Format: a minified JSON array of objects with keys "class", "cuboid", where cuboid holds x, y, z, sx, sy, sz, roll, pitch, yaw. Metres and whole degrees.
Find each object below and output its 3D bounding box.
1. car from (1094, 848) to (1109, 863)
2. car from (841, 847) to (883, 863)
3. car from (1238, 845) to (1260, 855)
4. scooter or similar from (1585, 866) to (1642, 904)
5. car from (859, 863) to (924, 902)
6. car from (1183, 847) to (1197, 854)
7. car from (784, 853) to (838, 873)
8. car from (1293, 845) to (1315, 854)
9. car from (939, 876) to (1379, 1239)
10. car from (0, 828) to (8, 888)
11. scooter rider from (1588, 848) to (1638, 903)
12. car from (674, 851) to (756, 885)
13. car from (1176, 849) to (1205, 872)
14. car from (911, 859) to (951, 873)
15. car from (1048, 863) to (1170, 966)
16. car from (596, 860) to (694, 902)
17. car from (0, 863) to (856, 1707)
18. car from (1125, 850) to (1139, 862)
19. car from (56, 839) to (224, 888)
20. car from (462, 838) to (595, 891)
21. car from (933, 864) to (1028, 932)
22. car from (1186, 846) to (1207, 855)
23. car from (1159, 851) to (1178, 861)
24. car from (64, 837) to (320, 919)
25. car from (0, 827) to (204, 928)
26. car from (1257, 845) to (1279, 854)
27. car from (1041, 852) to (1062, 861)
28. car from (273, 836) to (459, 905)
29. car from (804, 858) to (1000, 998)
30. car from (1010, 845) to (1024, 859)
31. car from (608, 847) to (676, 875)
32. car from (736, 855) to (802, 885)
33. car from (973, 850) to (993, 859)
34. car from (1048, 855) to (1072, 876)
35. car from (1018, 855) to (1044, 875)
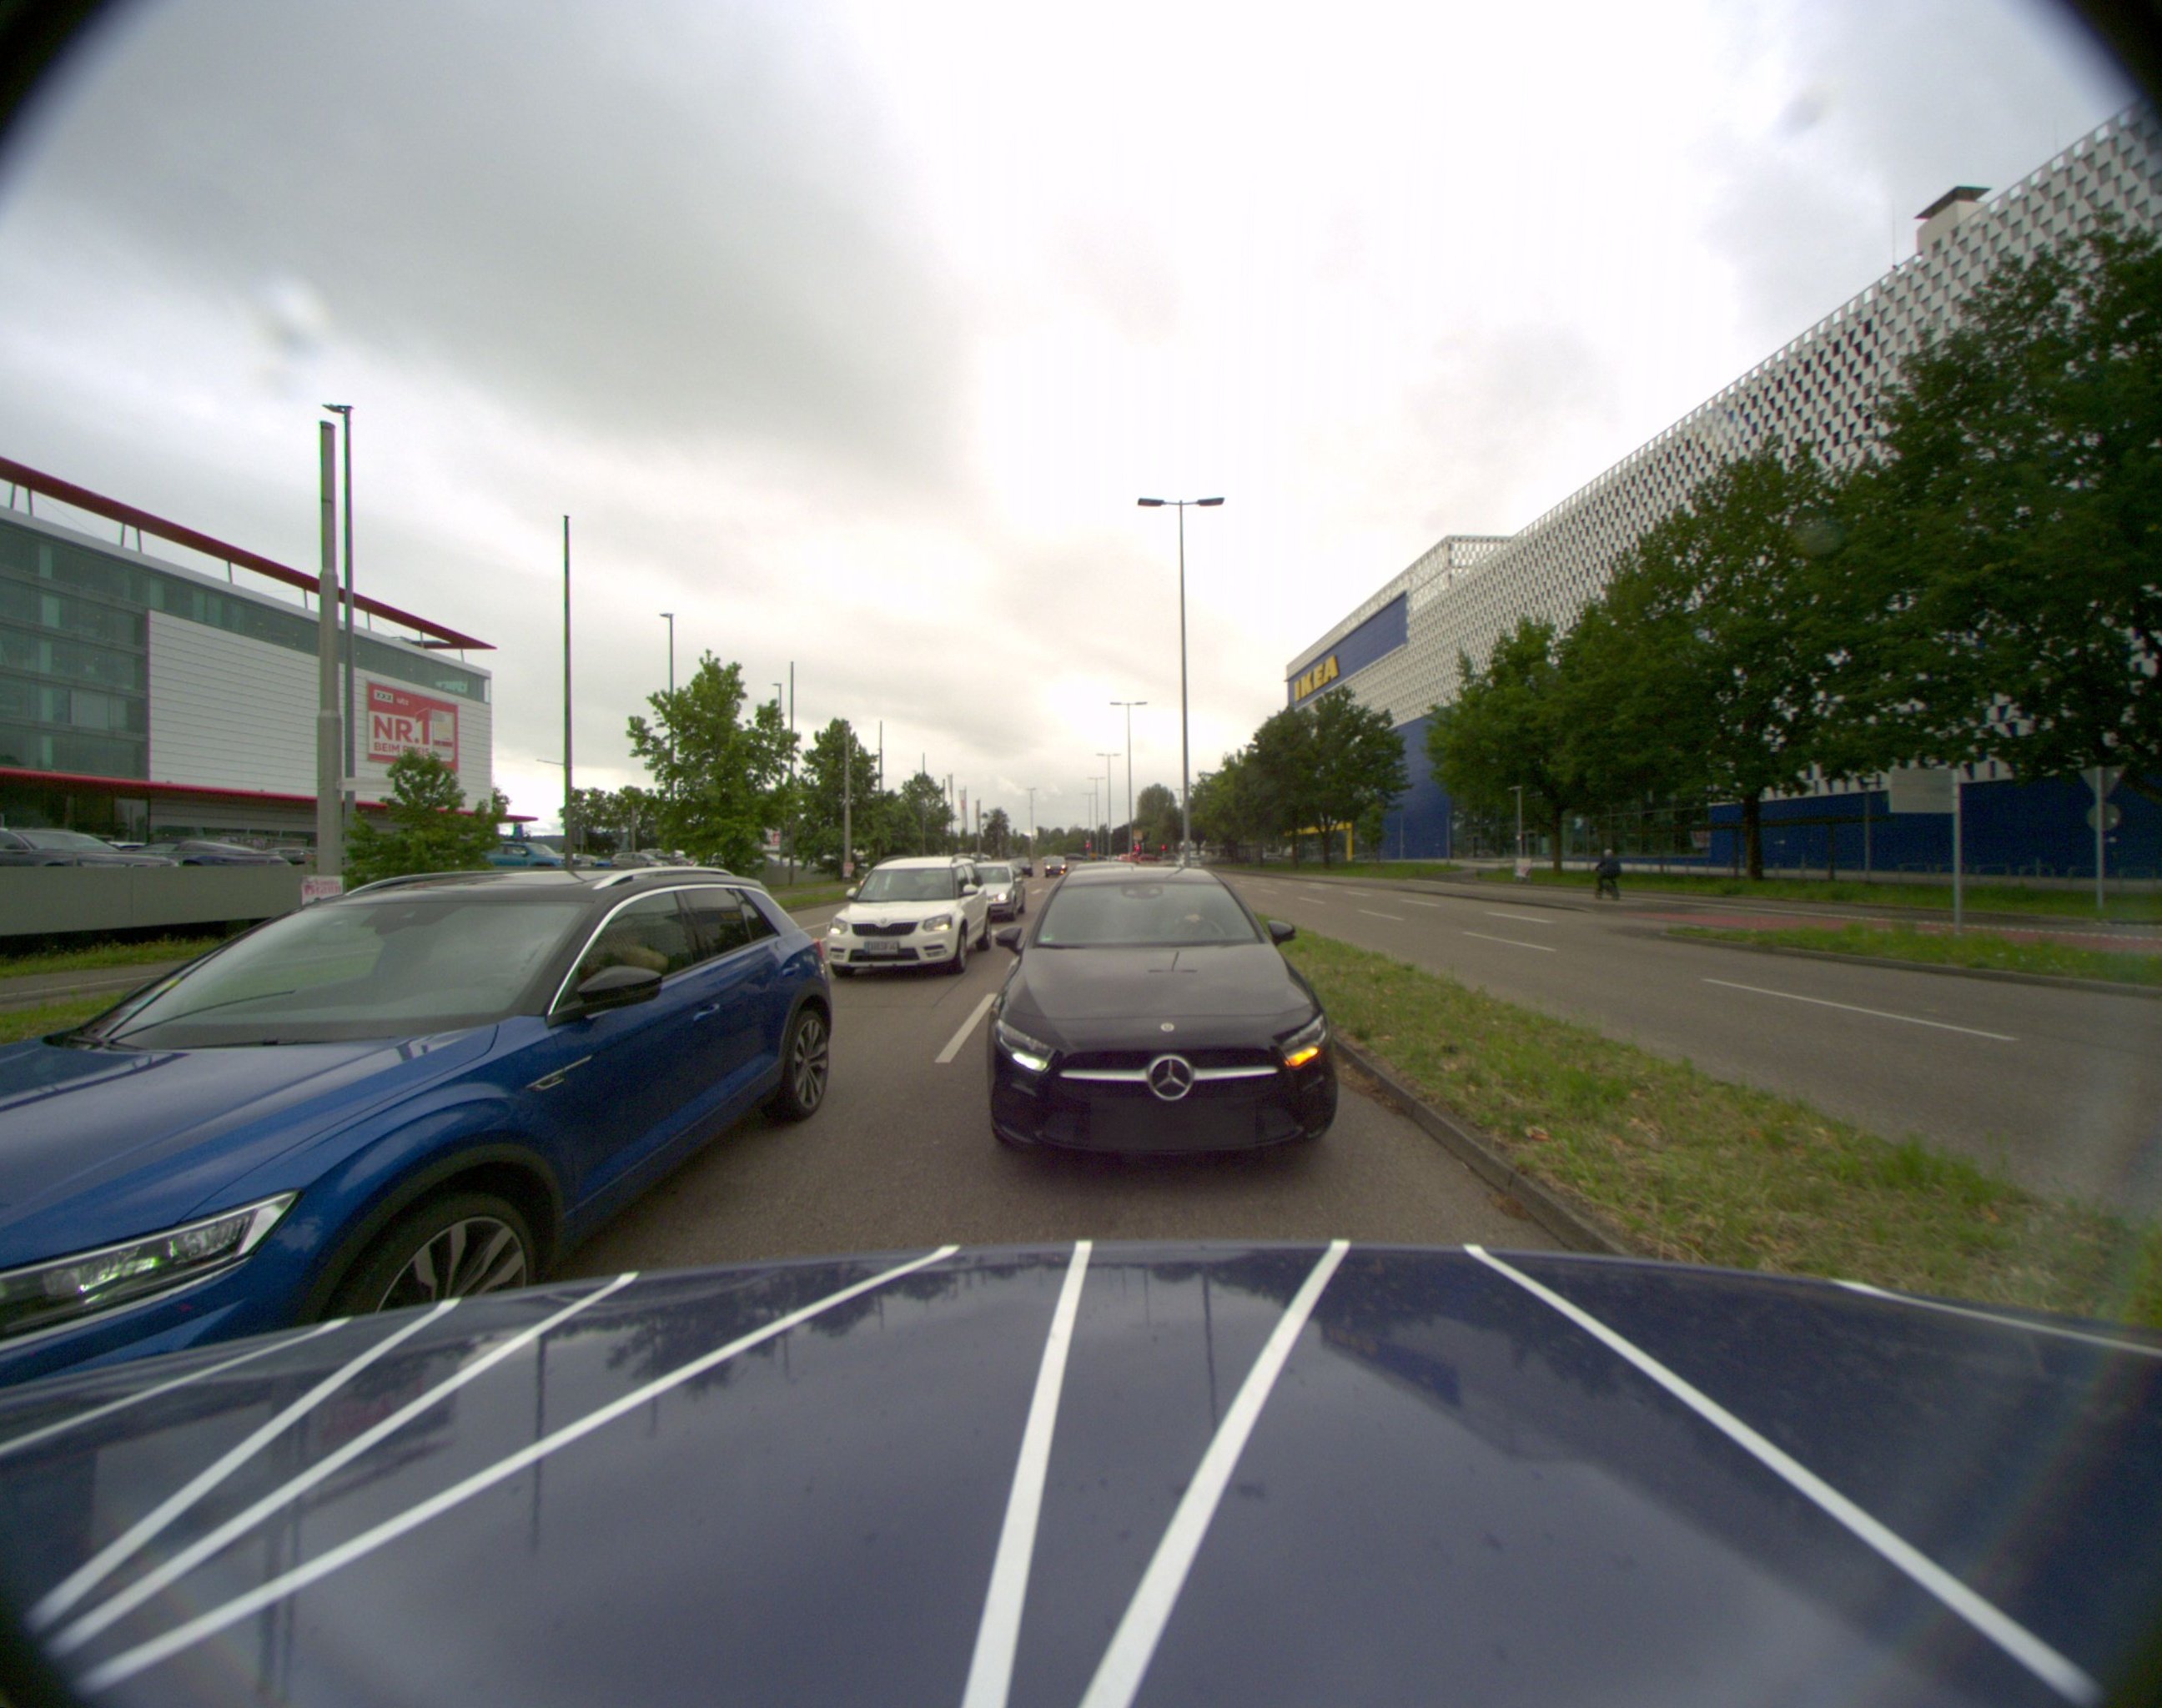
[{"class":"car","cuboid":[3.220,0.265,118.631,1.999,2.206,3.999,0,0,-2]},{"class":"car","cuboid":[-24.159,0.079,83.964,3.997,1.556,1.796,-2,1,1]},{"class":"car","cuboid":[30.332,-0.675,137.064,3.565,1.630,1.743,-2,1,-3]},{"class":"scooter or similar","cuboid":[17.235,0.982,24.618,0.590,1.119,1.423,-5,2,-16]},{"class":"car","cuboid":[-7.669,1.116,31.129,1.694,1.364,3.925,-2,1,-1]},{"class":"car","cuboid":[34.278,-1.098,238.920,4.290,1.813,1.743,-2,1,-3]},{"class":"car","cuboid":[-23.620,0.766,66.488,3.997,1.556,1.796,-2,1,1]},{"class":"car","cuboid":[47.068,-0.991,160.544,3.999,1.805,1.998,-2,1,-7]},{"class":"car","cuboid":[0.366,0.948,5.397,1.859,1.426,4.197,-2,0,1]},{"class":"car","cuboid":[-38.181,0.235,24.497,4.178,2.002,2.000,-2,1,0]},{"class":"scooter rider","cuboid":[17.236,0.676,24.611,0.798,1.710,1.038,-2,1,-16]},{"class":"car","cuboid":[-24.039,0.884,49.962,4.324,2.002,1.999,-2,1,-2]},{"class":"car","cuboid":[9.611,0.580,67.068,1.847,1.875,3.924,-2,1,-1]},{"class":"car","cuboid":[-17.554,1.432,89.064,4.216,1.407,1.802,-2,1,0]},{"class":"car","cuboid":[0.441,0.918,13.400,1.767,1.370,4.258,-2,1,1]},{"class":"car","cuboid":[-23.369,1.417,40.878,3.997,2.002,1.999,-2,1,-2]},{"class":"car","cuboid":[-2.581,0.931,3.142,1.846,1.612,4.332,-2,1,1]},{"class":"car","cuboid":[8.042,0.324,119.553,1.847,1.709,3.924,-2,1,-1]},{"class":"car","cuboid":[-37.347,0.360,30.251,3.998,1.729,1.999,-2,1,-2]},{"class":"car","cuboid":[-23.162,0.411,31.991,3.997,2.002,1.999,-2,1,-2]},{"class":"car","cuboid":[-2.462,1.036,19.678,1.801,1.407,4.218,-2,1,1]},{"class":"car","cuboid":[27.461,-0.827,180.613,4.708,2.002,1.999,-2,1,-2]},{"class":"car","cuboid":[19.874,0.512,172.613,3.997,2.002,1.999,-2,1,-2]},{"class":"car","cuboid":[-22.647,0.576,19.513,3.998,1.838,1.999,-2,1,-2]},{"class":"car","cuboid":[-22.623,0.529,16.522,4.529,2.002,1.999,-2,1,-2]},{"class":"car","cuboid":[39.315,-0.995,159.872,3.999,1.805,1.998,-2,1,-7]},{"class":"car","cuboid":[-7.010,0.618,180.714,5.089,2.002,1.999,-2,1,-2]},{"class":"car","cuboid":[-23.218,0.509,24.809,3.997,2.002,1.999,-2,1,-2]},{"class":"car","cuboid":[-2.461,0.933,11.637,1.798,1.615,4.374,-2,1,1]},{"class":"car","cuboid":[-10.117,-0.292,120.087,1.999,2.229,3.999,0,0,-2]},{"class":"car","cuboid":[-33.975,0.541,58.934,3.997,2.002,1.999,-2,1,-2]},{"class":"car","cuboid":[-23.241,1.182,56.651,3.997,2.002,2.000,-2,1,0]},{"class":"car","cuboid":[-19.792,0.180,153.974,3.999,1.786,1.999,0,0,-6]},{"class":"car","cuboid":[-1.689,0.920,62.778,1.801,1.565,4.218,-2,1,1]},{"class":"car","cuboid":[-4.339,0.943,66.732,1.798,1.615,4.374,-2,1,1]}]
